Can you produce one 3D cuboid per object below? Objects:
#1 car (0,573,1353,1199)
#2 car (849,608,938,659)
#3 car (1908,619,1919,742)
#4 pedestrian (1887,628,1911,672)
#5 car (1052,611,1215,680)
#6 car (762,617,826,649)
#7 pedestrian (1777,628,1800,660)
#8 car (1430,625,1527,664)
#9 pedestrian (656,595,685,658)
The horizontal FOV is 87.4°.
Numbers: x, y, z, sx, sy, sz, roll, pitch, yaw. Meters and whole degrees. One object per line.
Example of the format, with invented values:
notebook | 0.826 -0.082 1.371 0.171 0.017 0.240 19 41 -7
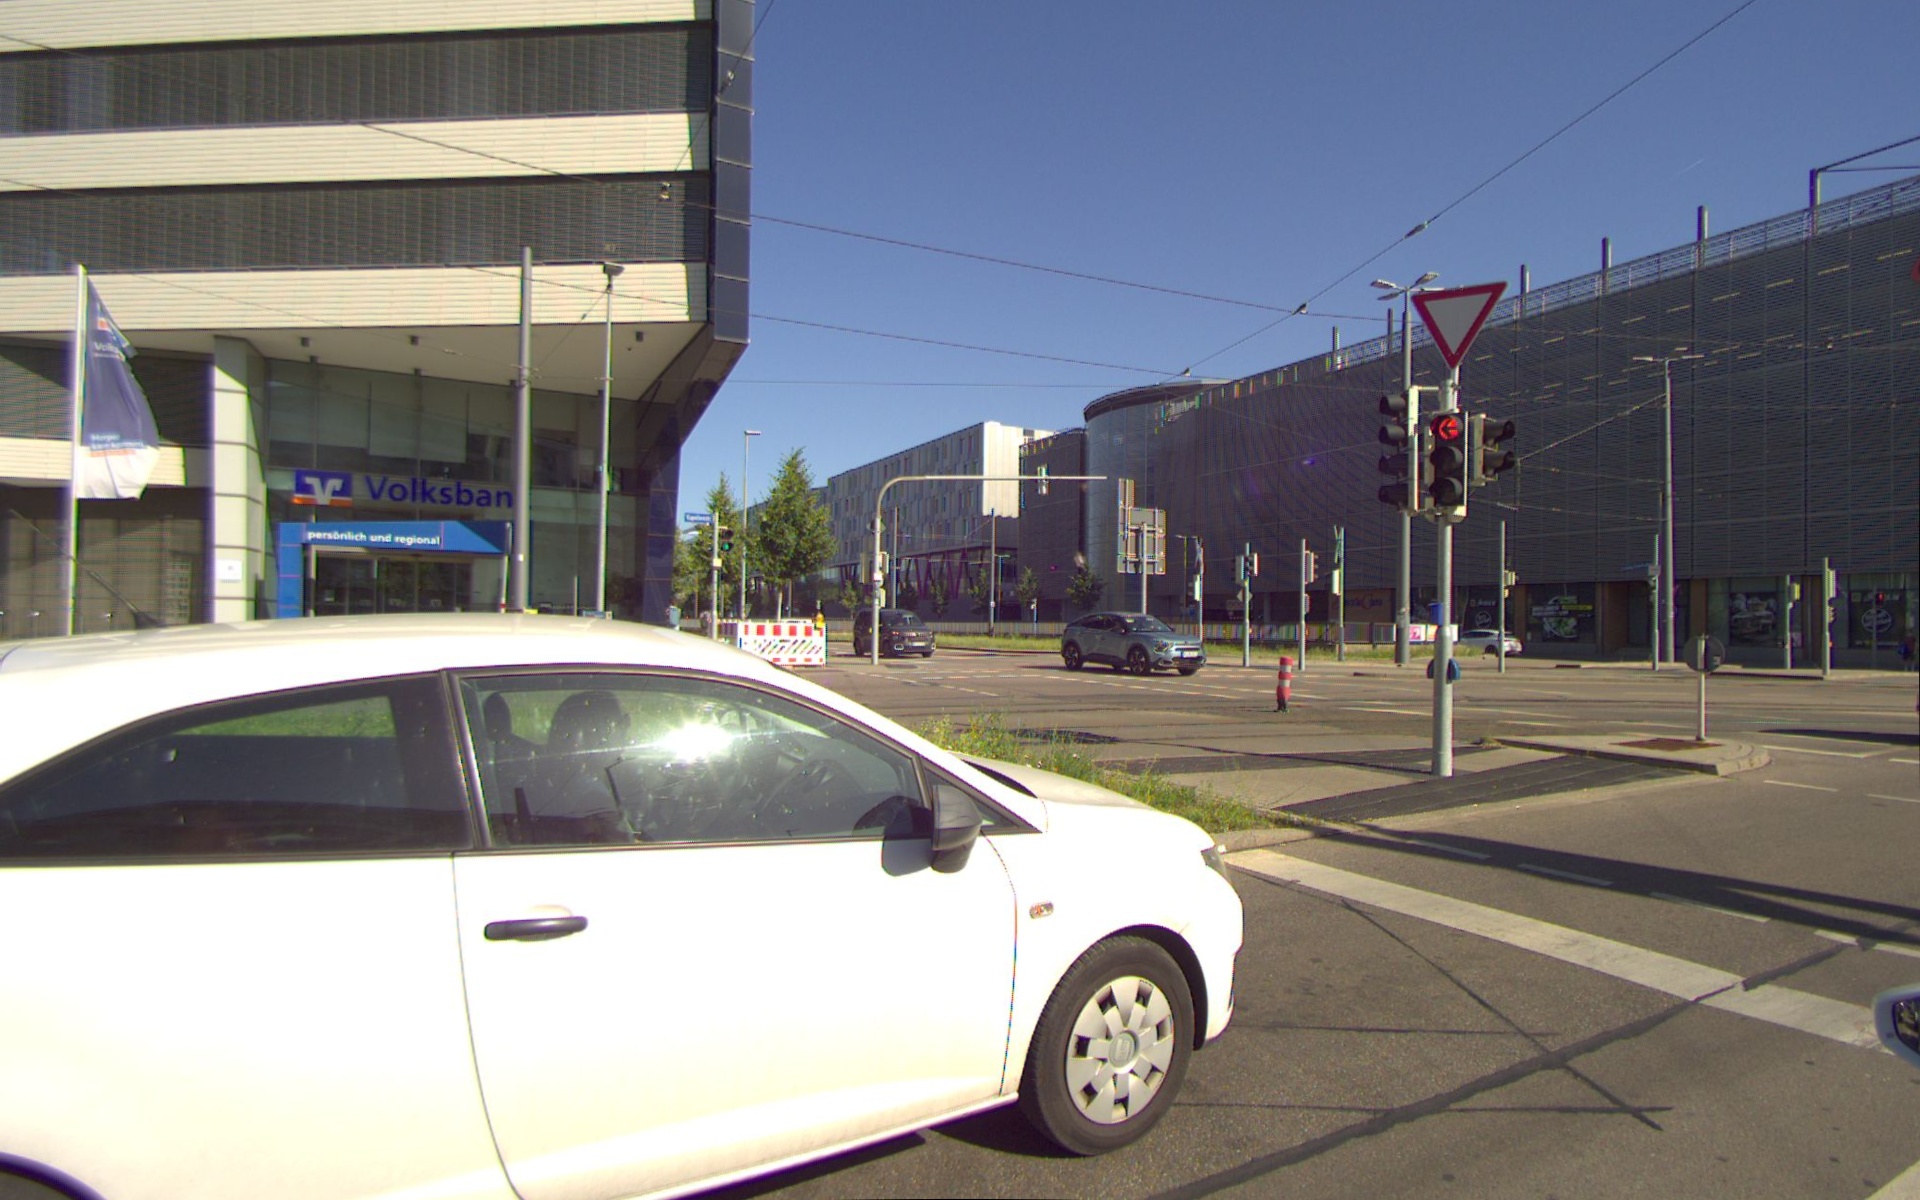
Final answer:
car | -0.961 0.739 2.794 3.977 1.460 1.723 2 1 -31
car | -2.564 1.223 37.829 1.688 1.815 4.440 1 -1 -28
car | 13.517 0.987 10.756 1.815 1.481 4.639 1 0 -34
pedestrian | 39.964 2.119 42.734 0.687 1.821 0.726 -2 -3 44
car | 4.311 1.098 25.586 1.690 1.534 4.241 1 0 -32
car | -8.169 1.581 49.222 1.842 1.492 4.265 1 -1 -28
pedestrian | 42.909 2.282 52.012 0.584 1.622 0.661 2 0 -11
car | 27.691 2.361 53.797 1.819 1.666 4.268 2 2 -30
pedestrian | -8.061 0.738 27.928 0.729 1.719 0.805 0 -2 -20
